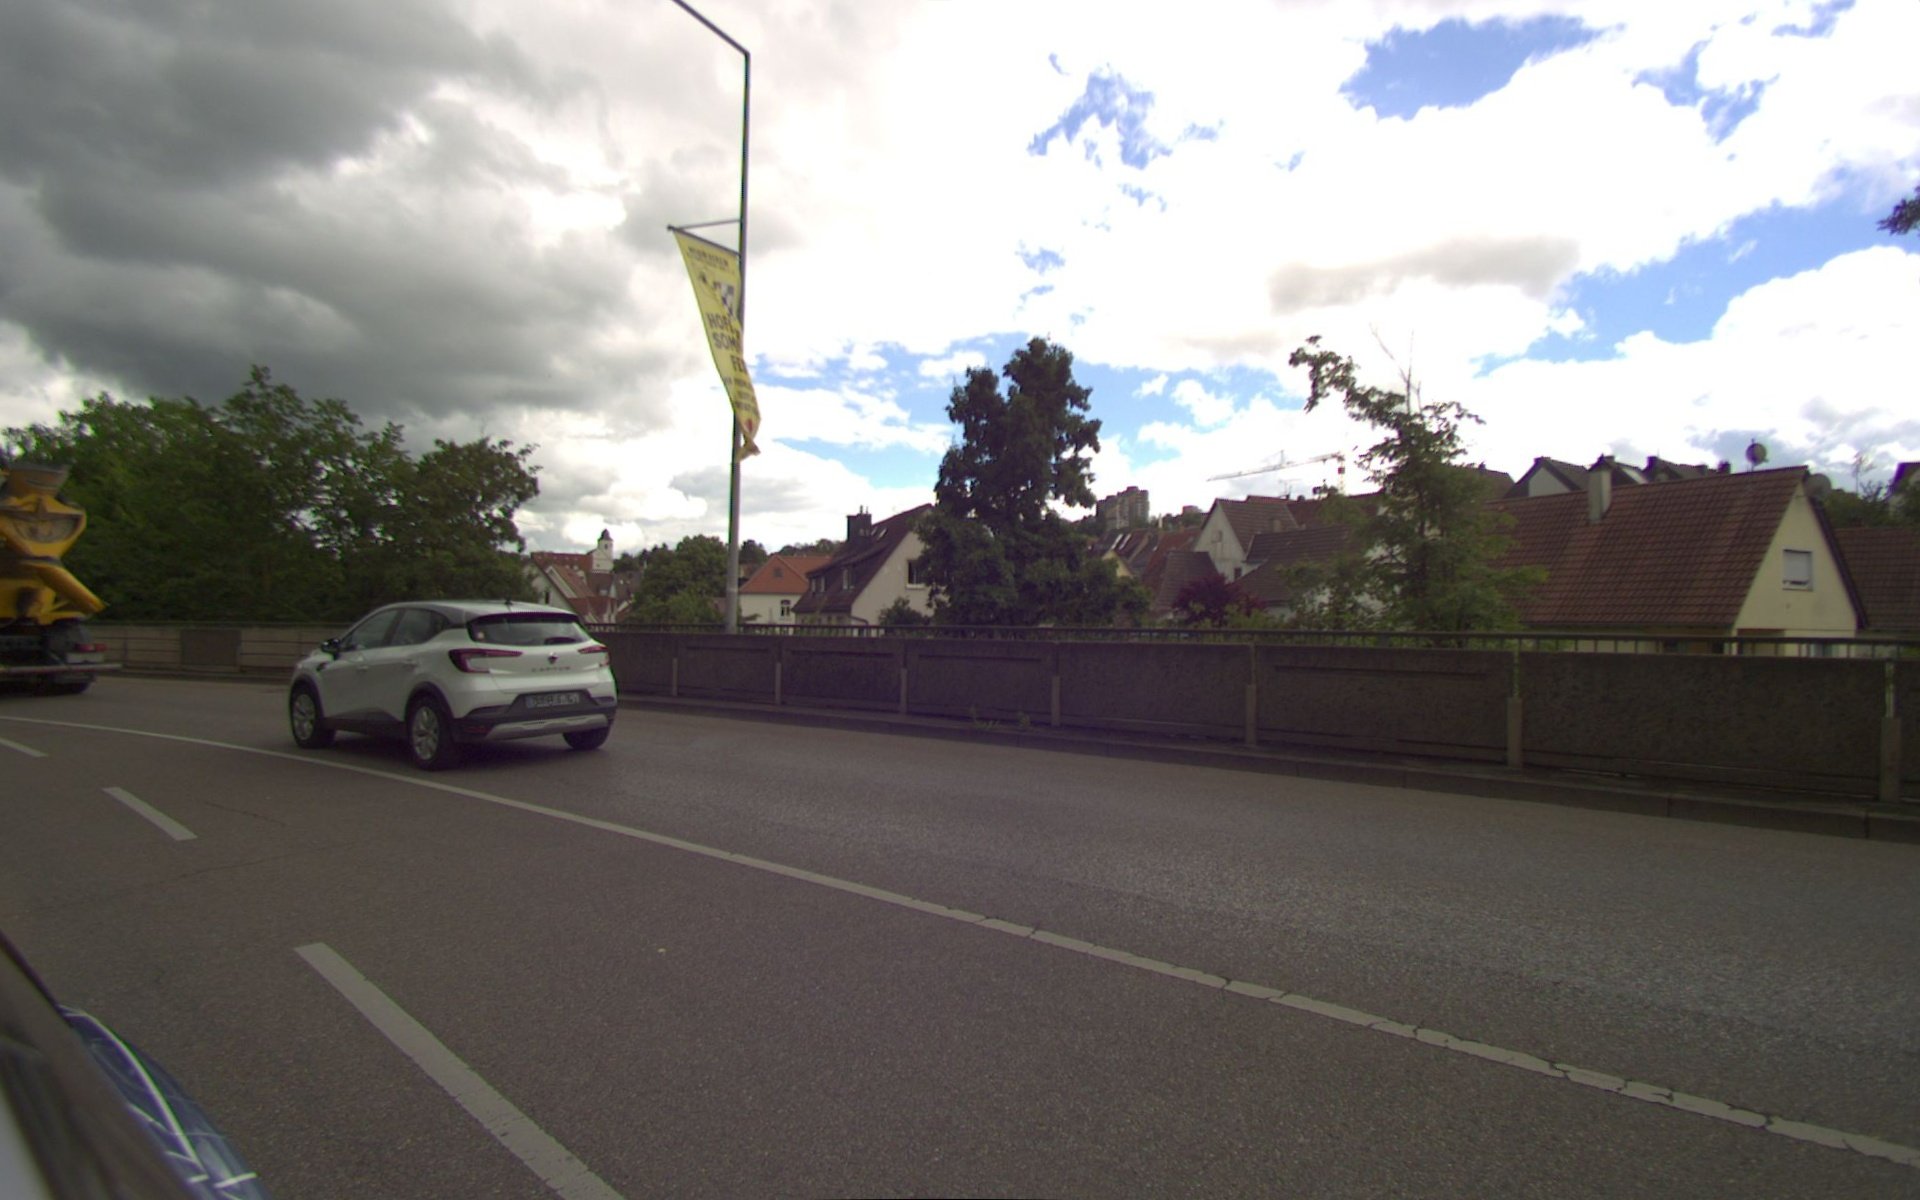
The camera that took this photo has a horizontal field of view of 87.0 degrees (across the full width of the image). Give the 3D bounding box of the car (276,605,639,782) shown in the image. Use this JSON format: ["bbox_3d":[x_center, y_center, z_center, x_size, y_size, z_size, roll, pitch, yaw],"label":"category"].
[{"bbox_3d":[-5.265,0.827,10.428,3.993,1.490,1.751,-1,-1,37],"label":"car"}]

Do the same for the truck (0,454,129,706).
[{"bbox_3d":[-19.414,-0.245,18.609,10.060,3.968,2.639,-1,-1,27],"label":"truck"}]
